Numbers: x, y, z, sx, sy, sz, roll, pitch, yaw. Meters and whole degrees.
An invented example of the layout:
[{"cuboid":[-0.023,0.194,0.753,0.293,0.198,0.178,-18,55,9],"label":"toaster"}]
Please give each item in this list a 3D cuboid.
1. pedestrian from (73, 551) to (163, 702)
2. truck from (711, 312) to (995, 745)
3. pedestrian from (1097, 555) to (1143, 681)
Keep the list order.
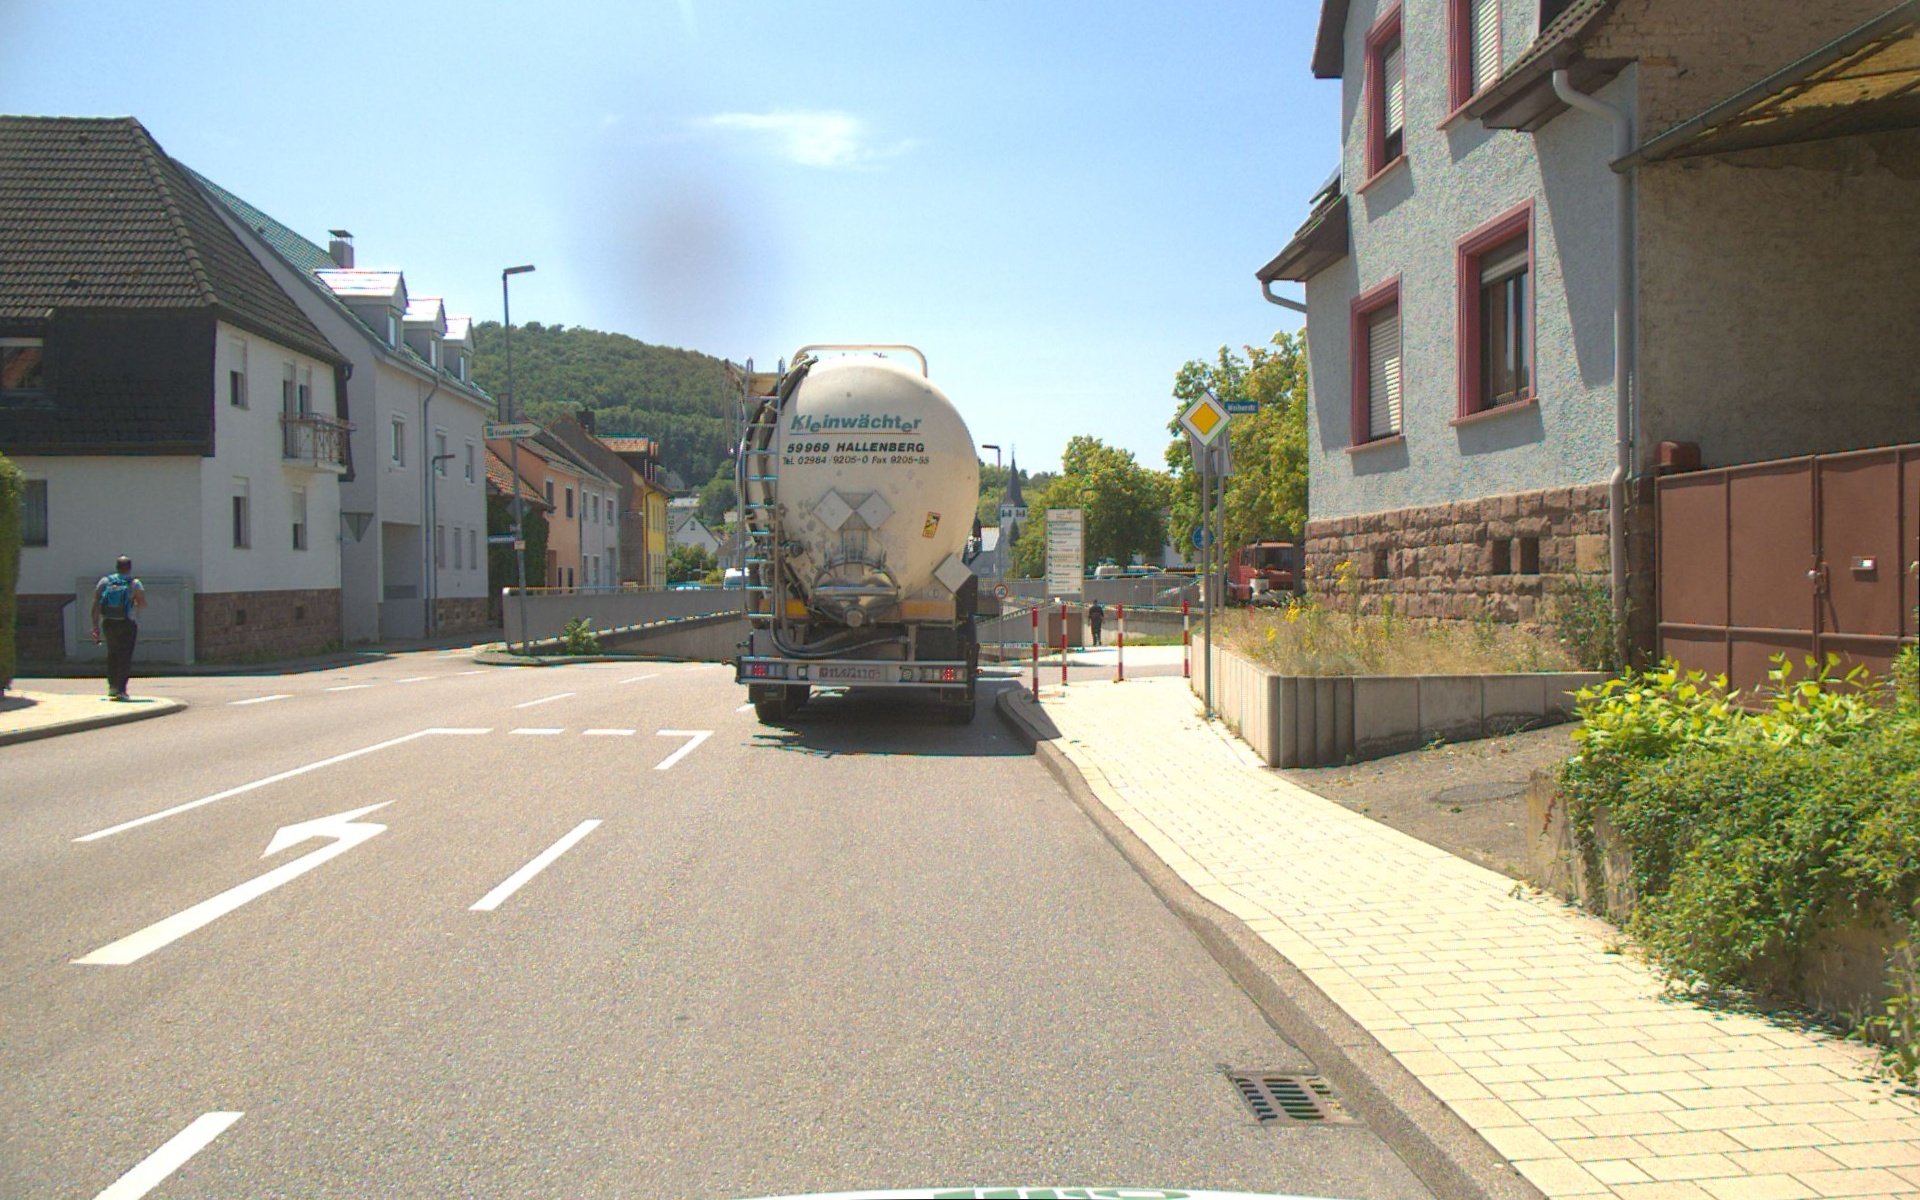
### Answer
[{"cuboid":[-10.608,0.332,20.858,0.699,1.855,0.897,1,-1,-8],"label":"pedestrian"},{"cuboid":[-1.423,-0.703,21.308,2.696,4.127,10.880,0,0,-4],"label":"truck"},{"cuboid":[2.239,0.254,23.252,0.559,1.723,0.721,1,-1,0],"label":"pedestrian"}]
